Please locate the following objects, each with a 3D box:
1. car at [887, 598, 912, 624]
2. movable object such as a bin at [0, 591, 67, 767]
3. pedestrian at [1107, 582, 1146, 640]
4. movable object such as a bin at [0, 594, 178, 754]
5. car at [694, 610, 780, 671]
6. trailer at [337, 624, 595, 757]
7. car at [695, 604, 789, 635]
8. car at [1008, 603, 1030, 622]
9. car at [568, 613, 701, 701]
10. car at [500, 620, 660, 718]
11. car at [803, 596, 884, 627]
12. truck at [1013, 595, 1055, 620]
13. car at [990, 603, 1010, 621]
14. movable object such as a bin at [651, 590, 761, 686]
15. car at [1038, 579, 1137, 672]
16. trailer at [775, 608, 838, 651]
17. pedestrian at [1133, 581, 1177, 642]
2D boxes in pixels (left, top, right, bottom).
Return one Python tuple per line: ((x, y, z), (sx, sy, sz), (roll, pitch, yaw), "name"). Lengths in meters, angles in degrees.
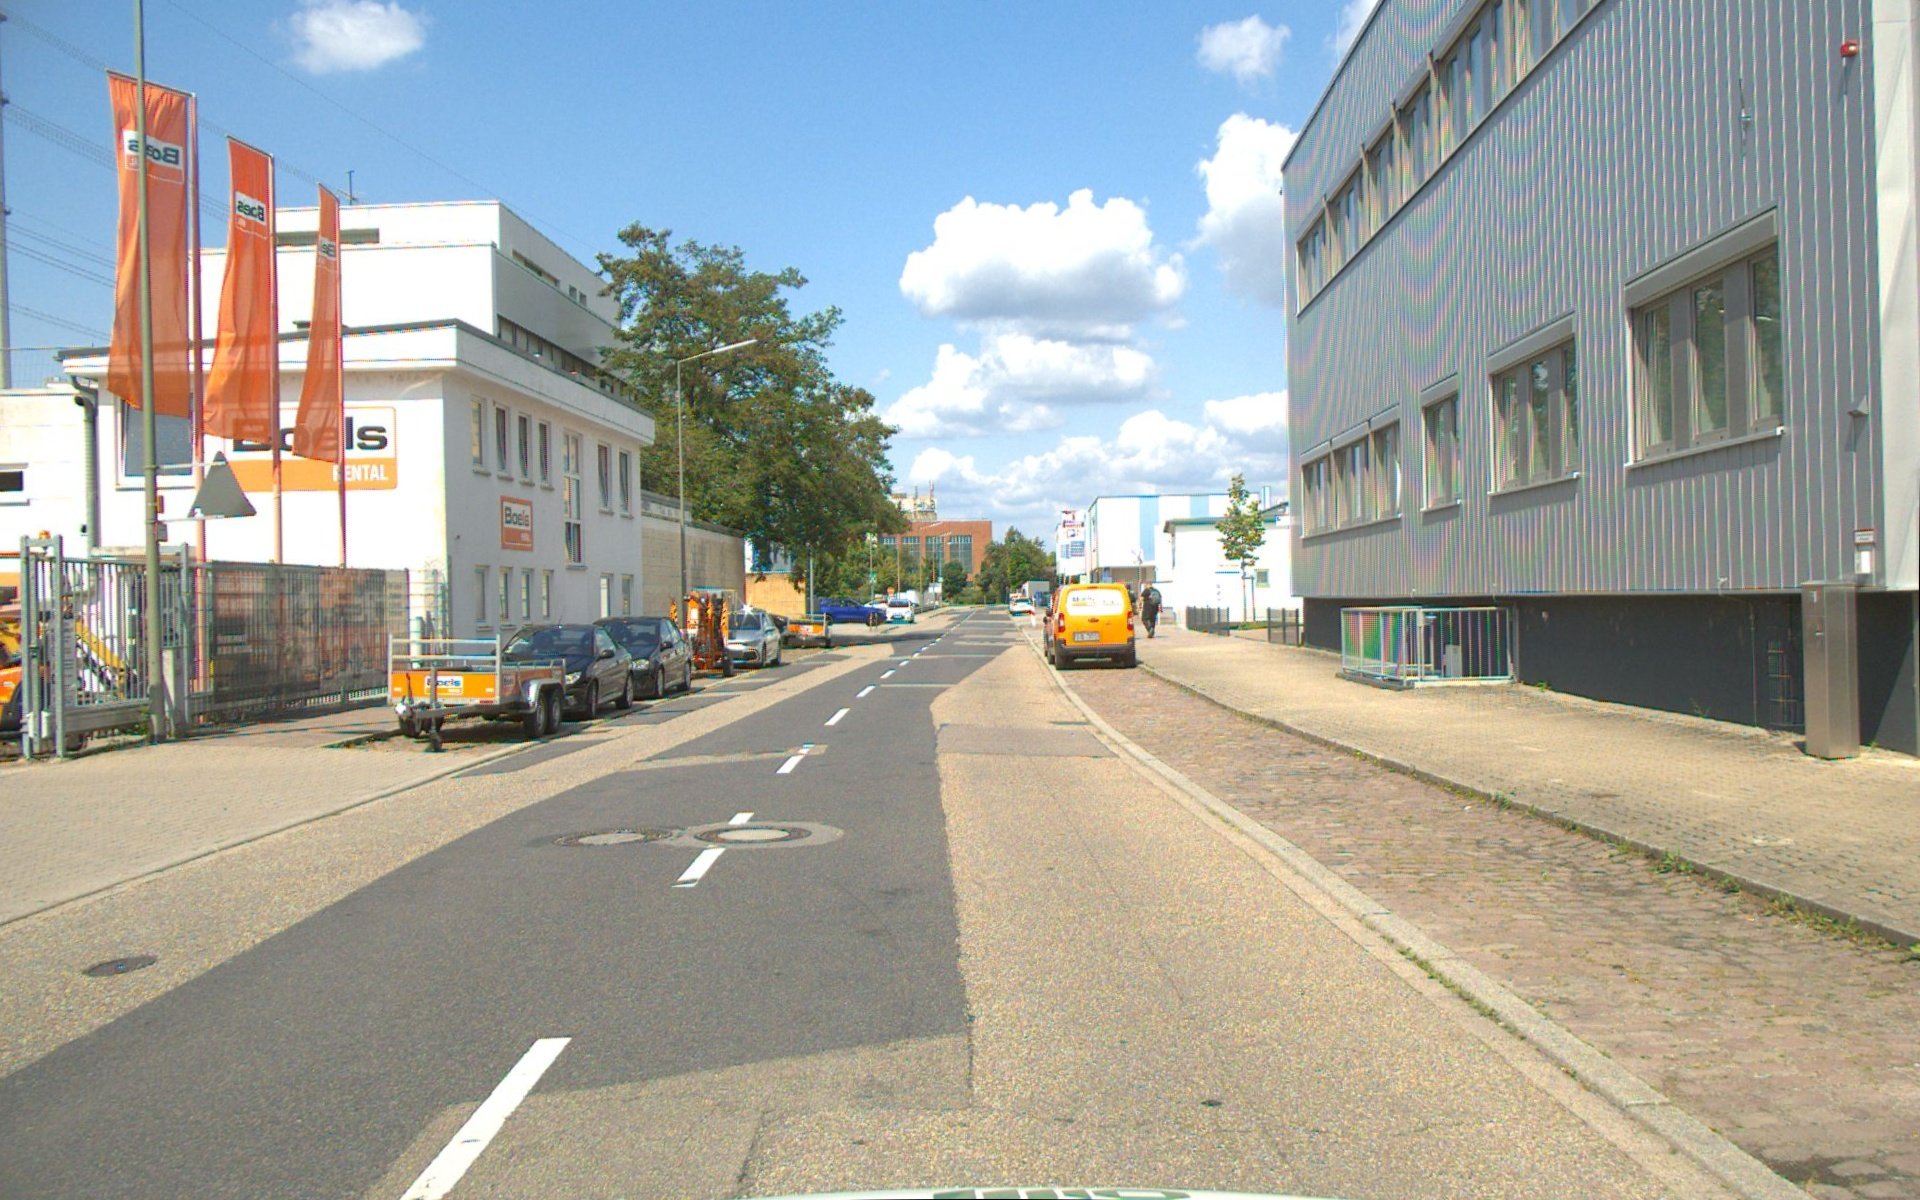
((-4.072, 0.745, 111.195), (1.651, 1.693, 3.998), (-1, 0, -3), "car")
((-14.566, 0.951, 19.617), (6.729, 2.040, 1.903), (-1, 0, -7), "movable object such as a bin")
((5.449, 0.369, 54.127), (0.844, 1.839, 0.999), (-2, 0, -21), "pedestrian")
((-14.660, 0.985, 21.996), (7.452, 2.040, 1.903), (-1, 0, -7), "movable object such as a bin")
((-5.689, 1.012, 42.679), (1.639, 1.481, 4.513), (0, 0, -1), "car")
((-5.949, 1.025, 20.586), (1.731, 1.400, 5.050), (0, 0, -1), "trailer")
((-9.881, 0.879, 75.183), (3.909, 1.386, 1.795), (0, 0, 4), "car")
((5.011, 1.066, 140.925), (1.829, 1.547, 4.598), (-1, 0, 1), "car")
((-5.888, 0.994, 30.373), (1.639, 1.481, 4.223), (0, 0, -1), "car")
((-5.889, 1.027, 26.038), (1.639, 1.400, 3.884), (0, 0, -1), "car")
((-6.985, 0.702, 99.192), (4.605, 1.621, 1.910), (-3, 0, -13), "car")
((11.700, 1.147, 260.723), (2.279, 3.629, 9.346), (0, 2, 31), "truck")
((3.726, 1.095, 153.591), (1.797, 1.547, 4.461), (-1, 0, 1), "car")
((-5.624, 0.789, 37.225), (1.580, 1.952, 5.138), (2, 0, 0), "movable object such as a bin")
((2.857, 0.556, 37.958), (1.834, 1.925, 4.452), (2, 0, -1), "car")
((-5.472, 1.028, 59.343), (1.730, 1.464, 4.336), (1, 0, 1), "trailer")
((6.454, 0.380, 54.852), (0.976, 1.985, 1.084), (-2, 0, -22), "pedestrian")
